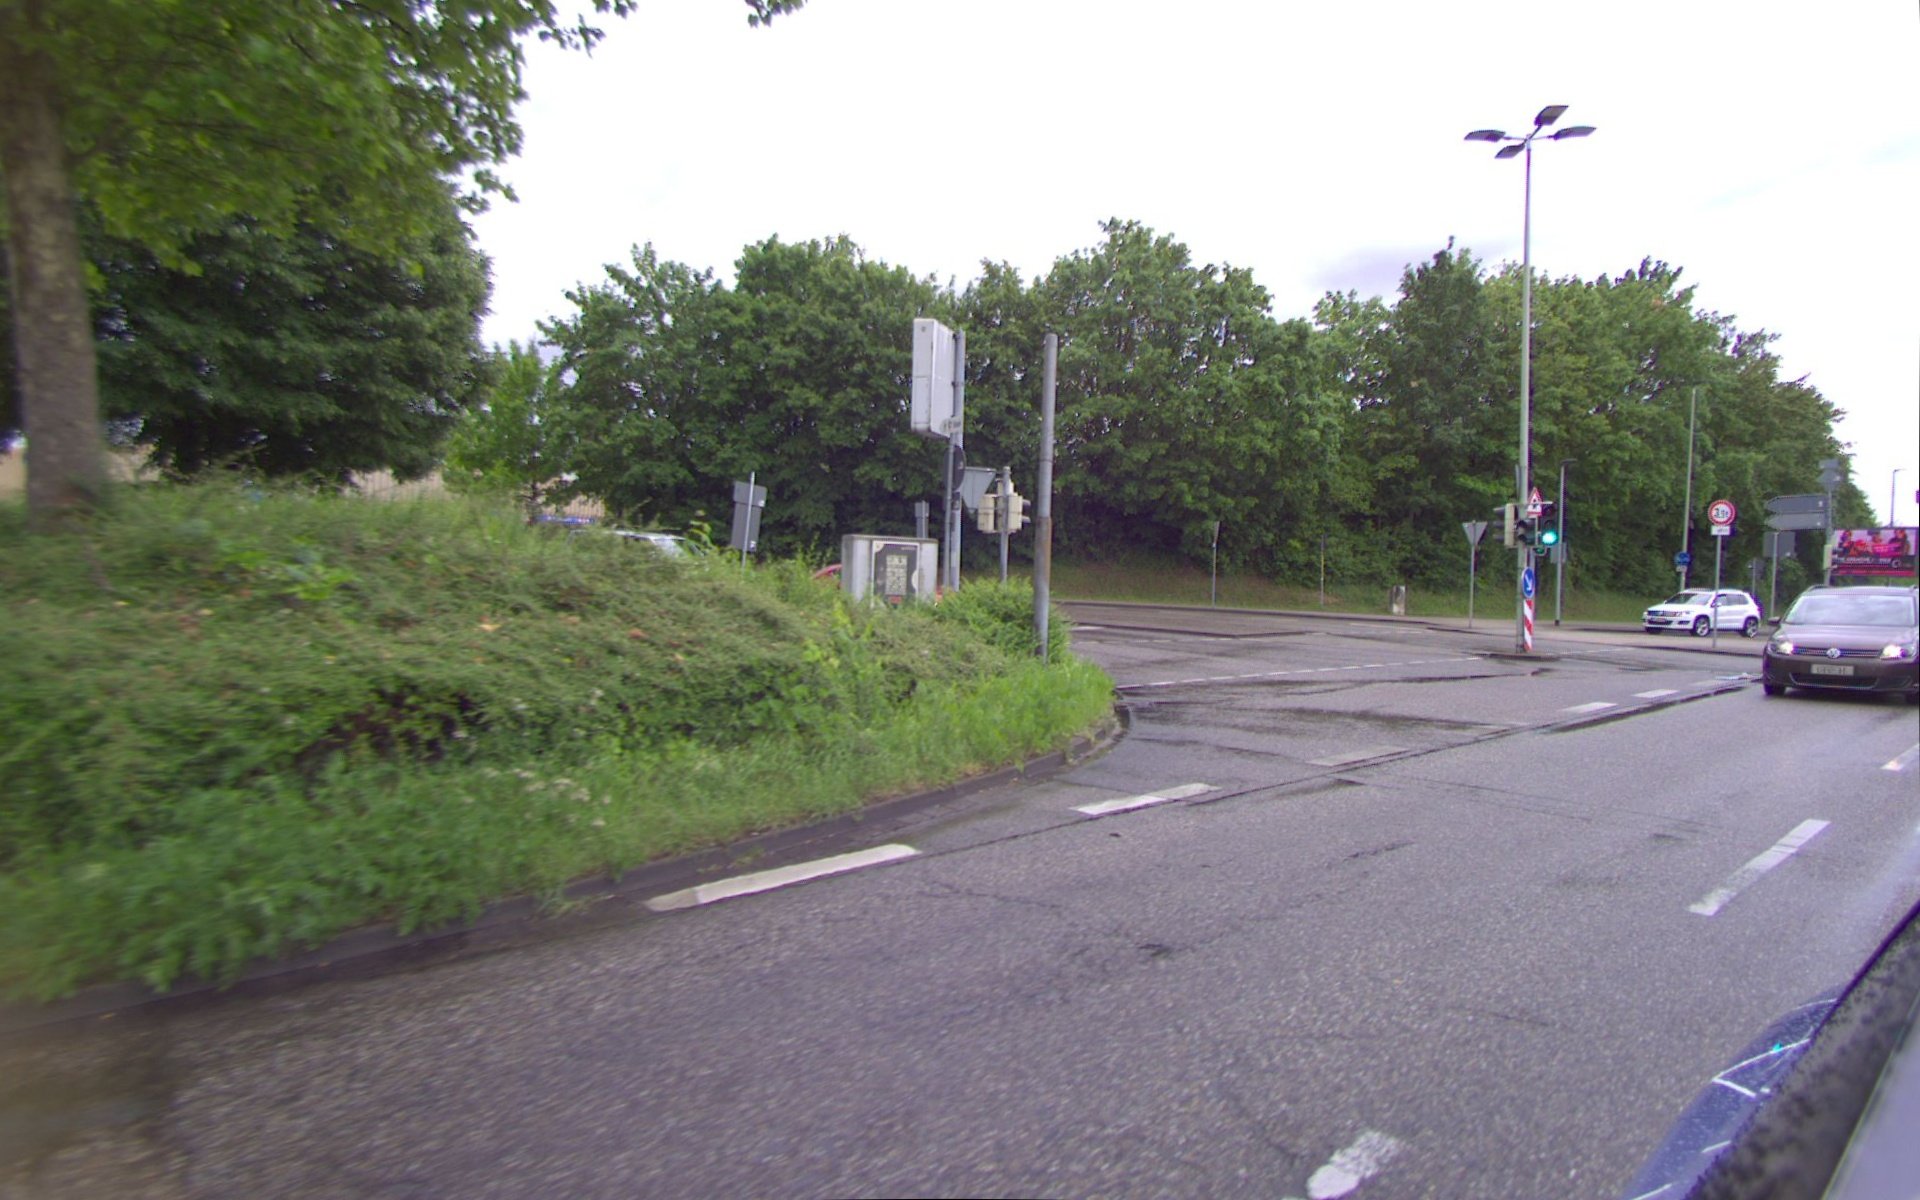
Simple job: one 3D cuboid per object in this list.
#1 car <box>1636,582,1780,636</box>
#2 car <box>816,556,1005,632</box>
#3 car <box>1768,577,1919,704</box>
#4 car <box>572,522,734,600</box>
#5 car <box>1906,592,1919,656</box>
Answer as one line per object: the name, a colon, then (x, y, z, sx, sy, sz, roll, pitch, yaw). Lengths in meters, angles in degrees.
car: (26.457, 0.308, 35.832, 4.225, 1.749, 2.005, 2, 1, -19)
car: (-1.163, -0.208, 23.260, 3.968, 1.445, 1.833, 4, 4, 30)
car: (13.422, 0.516, 14.817, 3.910, 1.629, 1.751, 0, 1, -40)
car: (-8.302, -1.092, 27.366, 3.958, 1.881, 1.838, 4, 4, 25)
car: (24.302, 0.572, 24.401, 4.599, 1.475, 1.782, 0, 1, -42)
